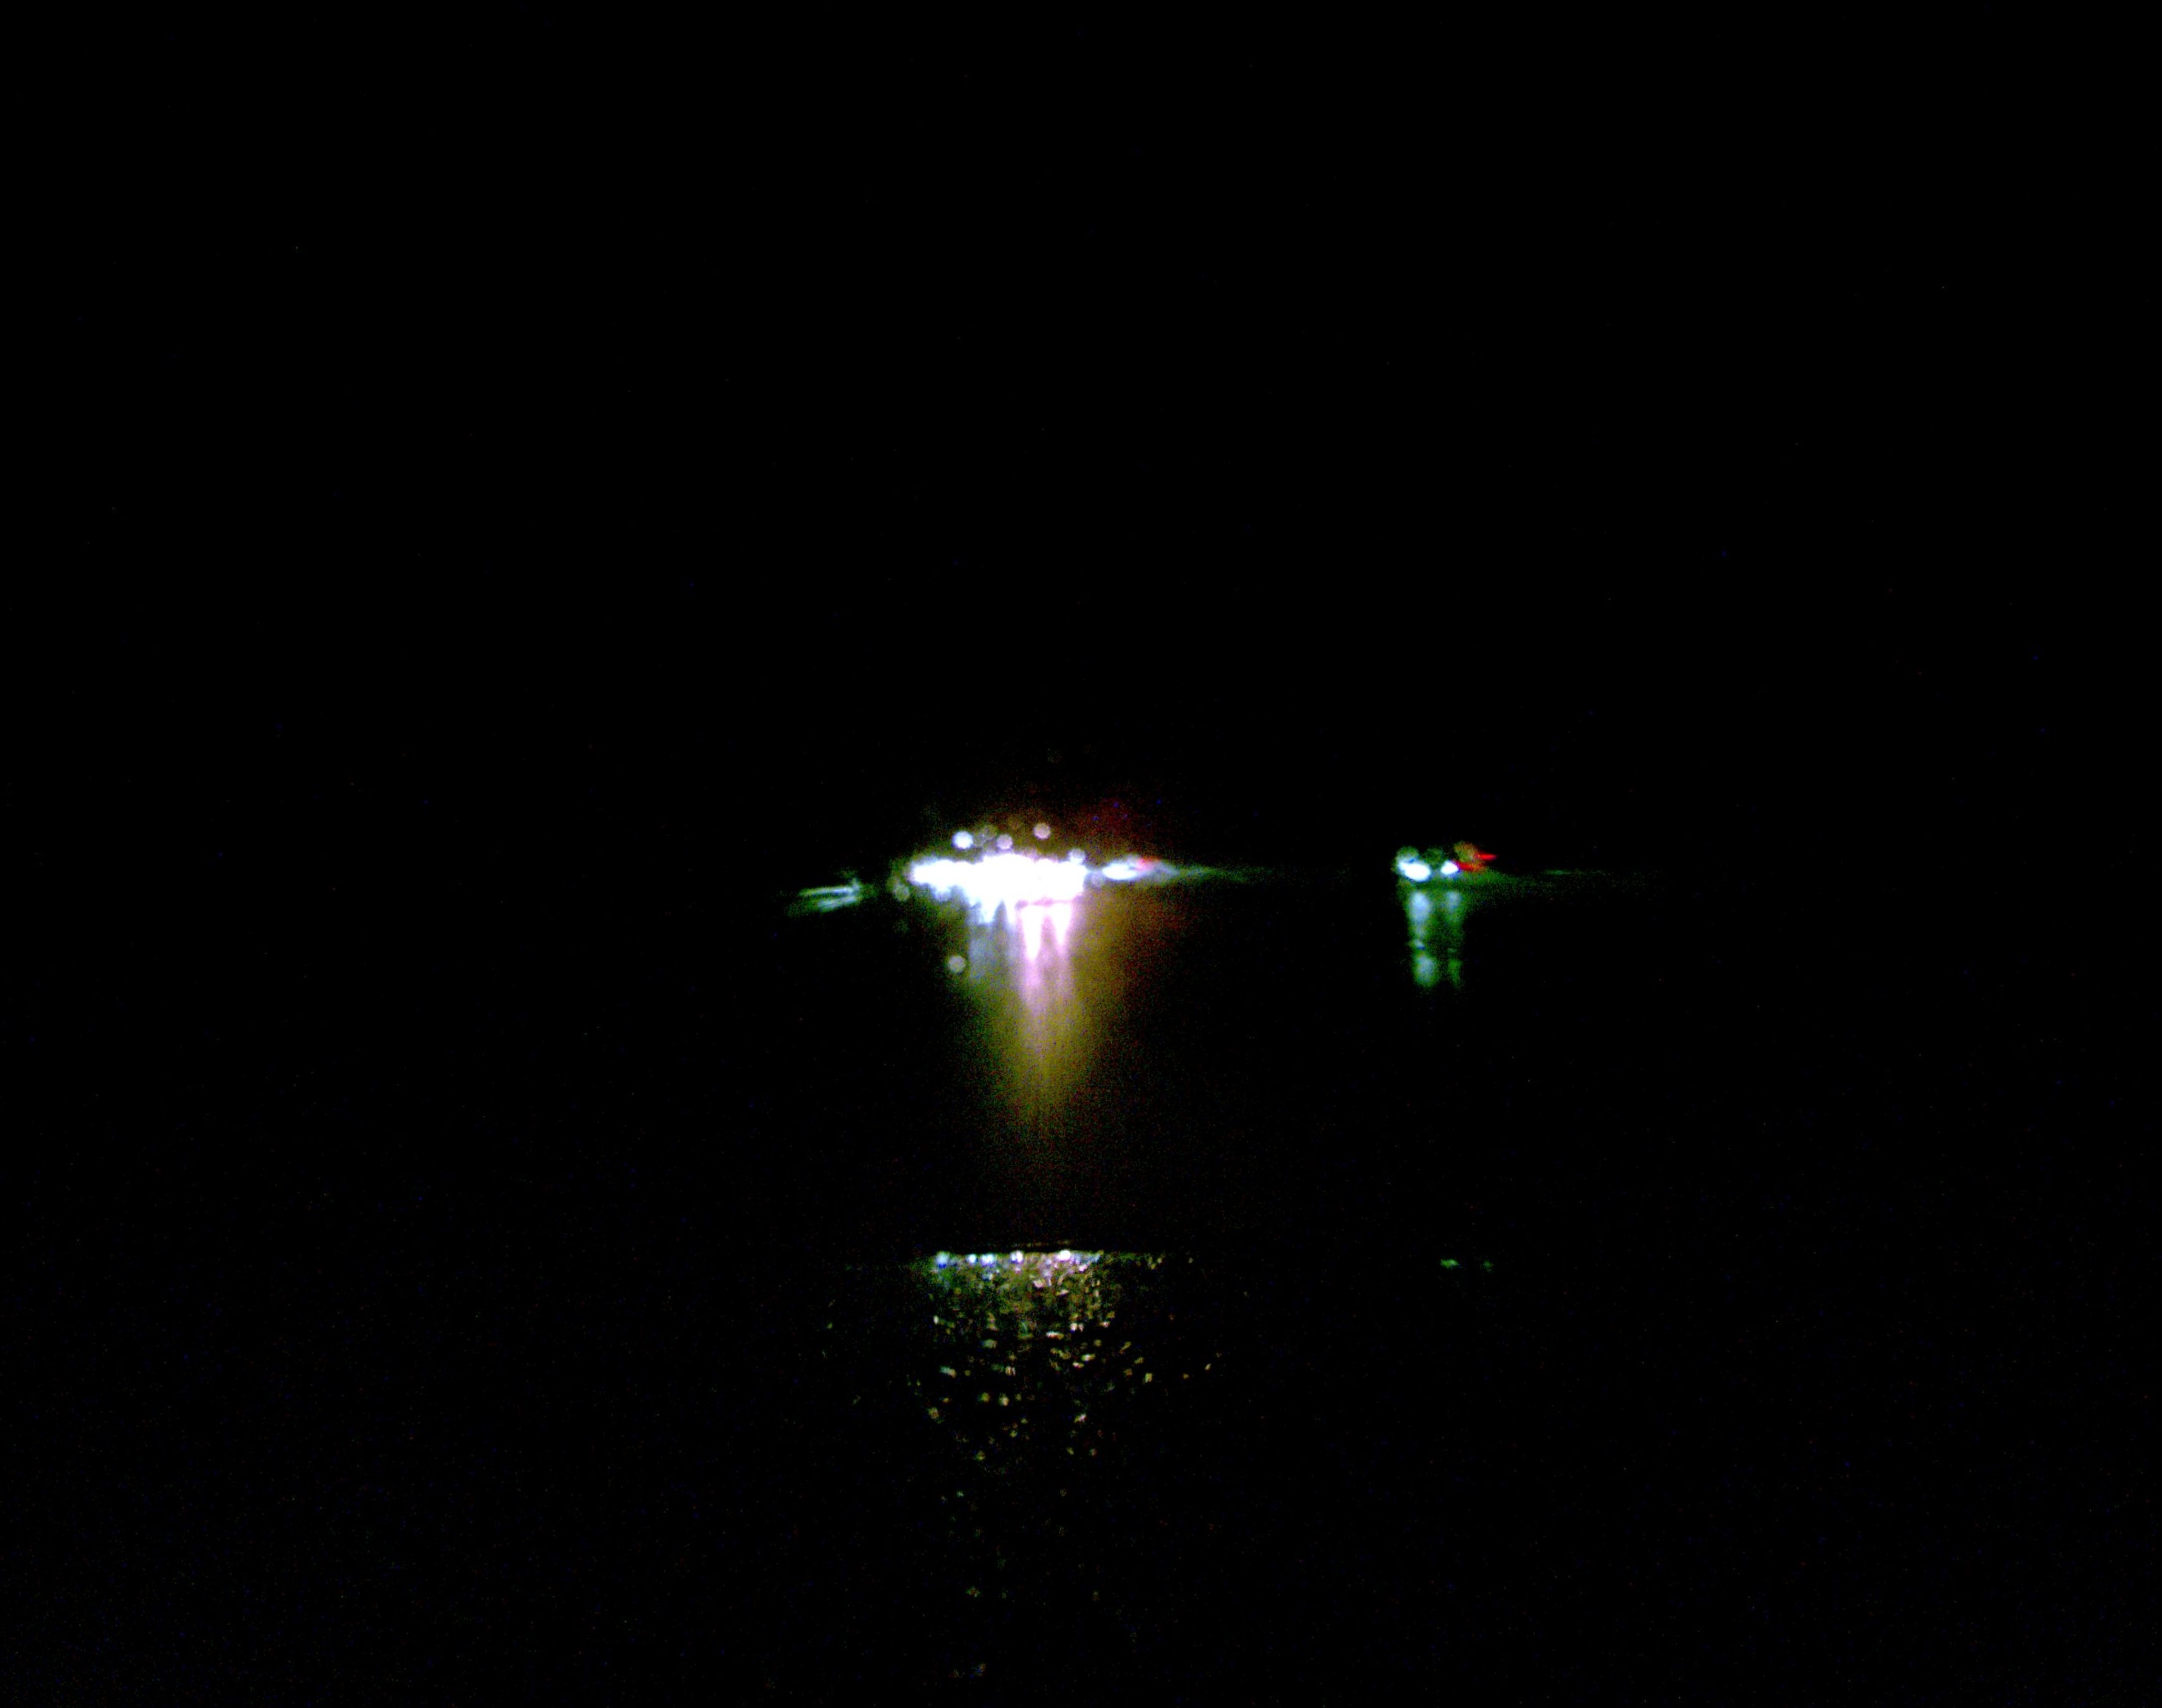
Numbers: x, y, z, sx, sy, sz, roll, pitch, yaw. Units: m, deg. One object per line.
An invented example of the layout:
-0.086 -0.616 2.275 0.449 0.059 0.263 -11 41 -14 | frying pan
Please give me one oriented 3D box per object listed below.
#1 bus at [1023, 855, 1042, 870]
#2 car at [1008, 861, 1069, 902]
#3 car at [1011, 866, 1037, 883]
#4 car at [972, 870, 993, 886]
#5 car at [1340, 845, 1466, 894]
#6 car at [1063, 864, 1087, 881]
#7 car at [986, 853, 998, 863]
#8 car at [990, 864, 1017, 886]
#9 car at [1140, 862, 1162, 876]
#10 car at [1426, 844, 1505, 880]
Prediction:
-15.144 2.645 235.302 3.085 4.464 16.995 -4 0 -12 | bus
-1.929 1.222 33.341 2.000 1.542 3.998 -4 -2 -11 | car
-5.792 2.042 76.980 2.000 1.551 4.583 -4 0 -11 | car
-10.167 2.441 78.235 1.815 1.477 3.579 -4 0 -13 | car
11.788 0.541 28.180 2.000 1.551 4.583 -4 0 -11 | car
-0.690 2.181 89.089 2.000 1.797 3.996 -4 0 -11 | car
-16.945 0.819 144.618 2.000 1.797 3.996 -4 0 -11 | car
-5.953 1.553 57.925 1.814 1.477 3.580 -4 0 -9 | car
9.519 2.064 103.886 1.910 1.797 3.996 -4 0 -11 | car
21.796 0.447 43.250 1.910 1.797 3.996 -4 0 -11 | car
